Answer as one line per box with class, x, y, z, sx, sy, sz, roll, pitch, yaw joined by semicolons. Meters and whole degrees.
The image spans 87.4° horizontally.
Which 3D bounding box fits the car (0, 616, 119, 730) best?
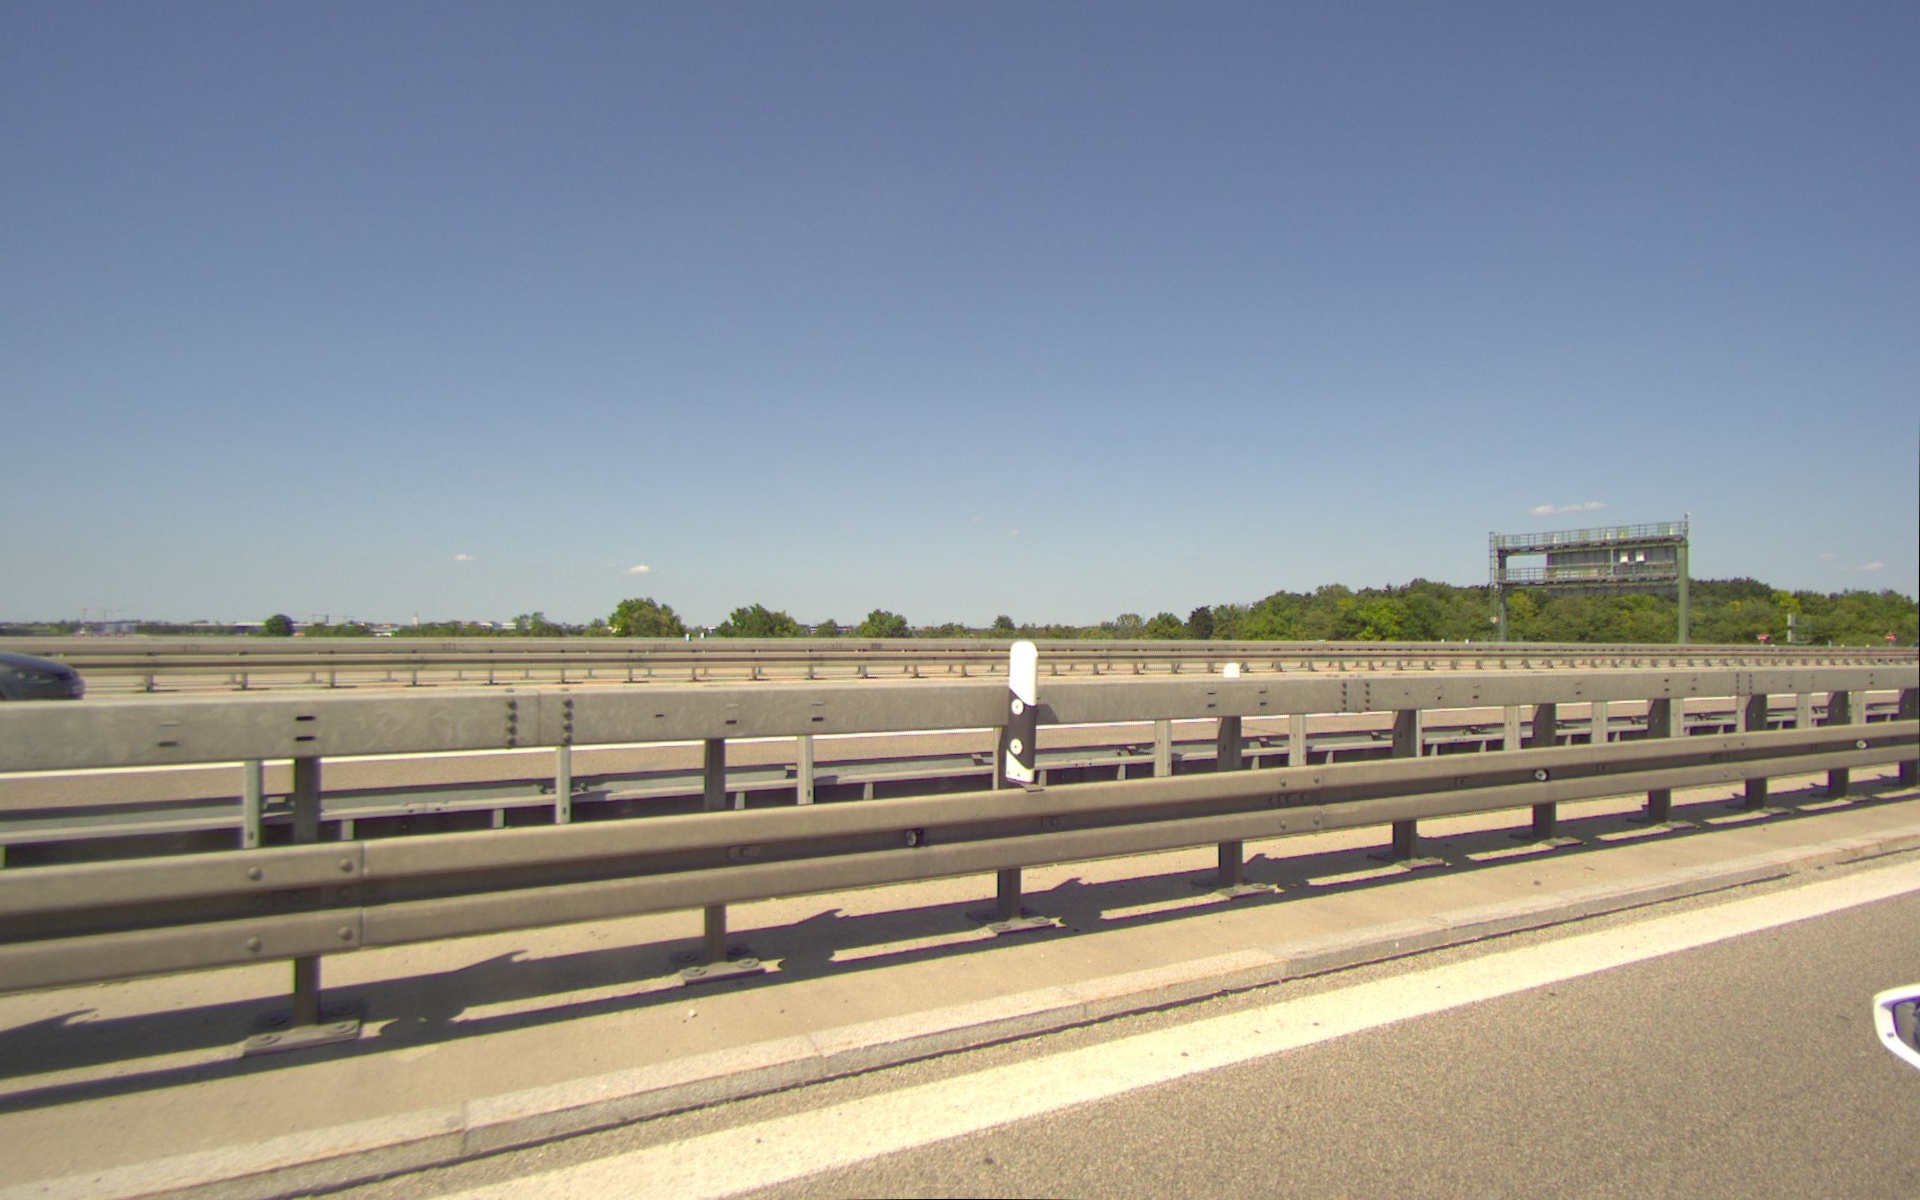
car;-13.723;0.913;12.888;4.163;1.441;1.756;1;-1;-28
